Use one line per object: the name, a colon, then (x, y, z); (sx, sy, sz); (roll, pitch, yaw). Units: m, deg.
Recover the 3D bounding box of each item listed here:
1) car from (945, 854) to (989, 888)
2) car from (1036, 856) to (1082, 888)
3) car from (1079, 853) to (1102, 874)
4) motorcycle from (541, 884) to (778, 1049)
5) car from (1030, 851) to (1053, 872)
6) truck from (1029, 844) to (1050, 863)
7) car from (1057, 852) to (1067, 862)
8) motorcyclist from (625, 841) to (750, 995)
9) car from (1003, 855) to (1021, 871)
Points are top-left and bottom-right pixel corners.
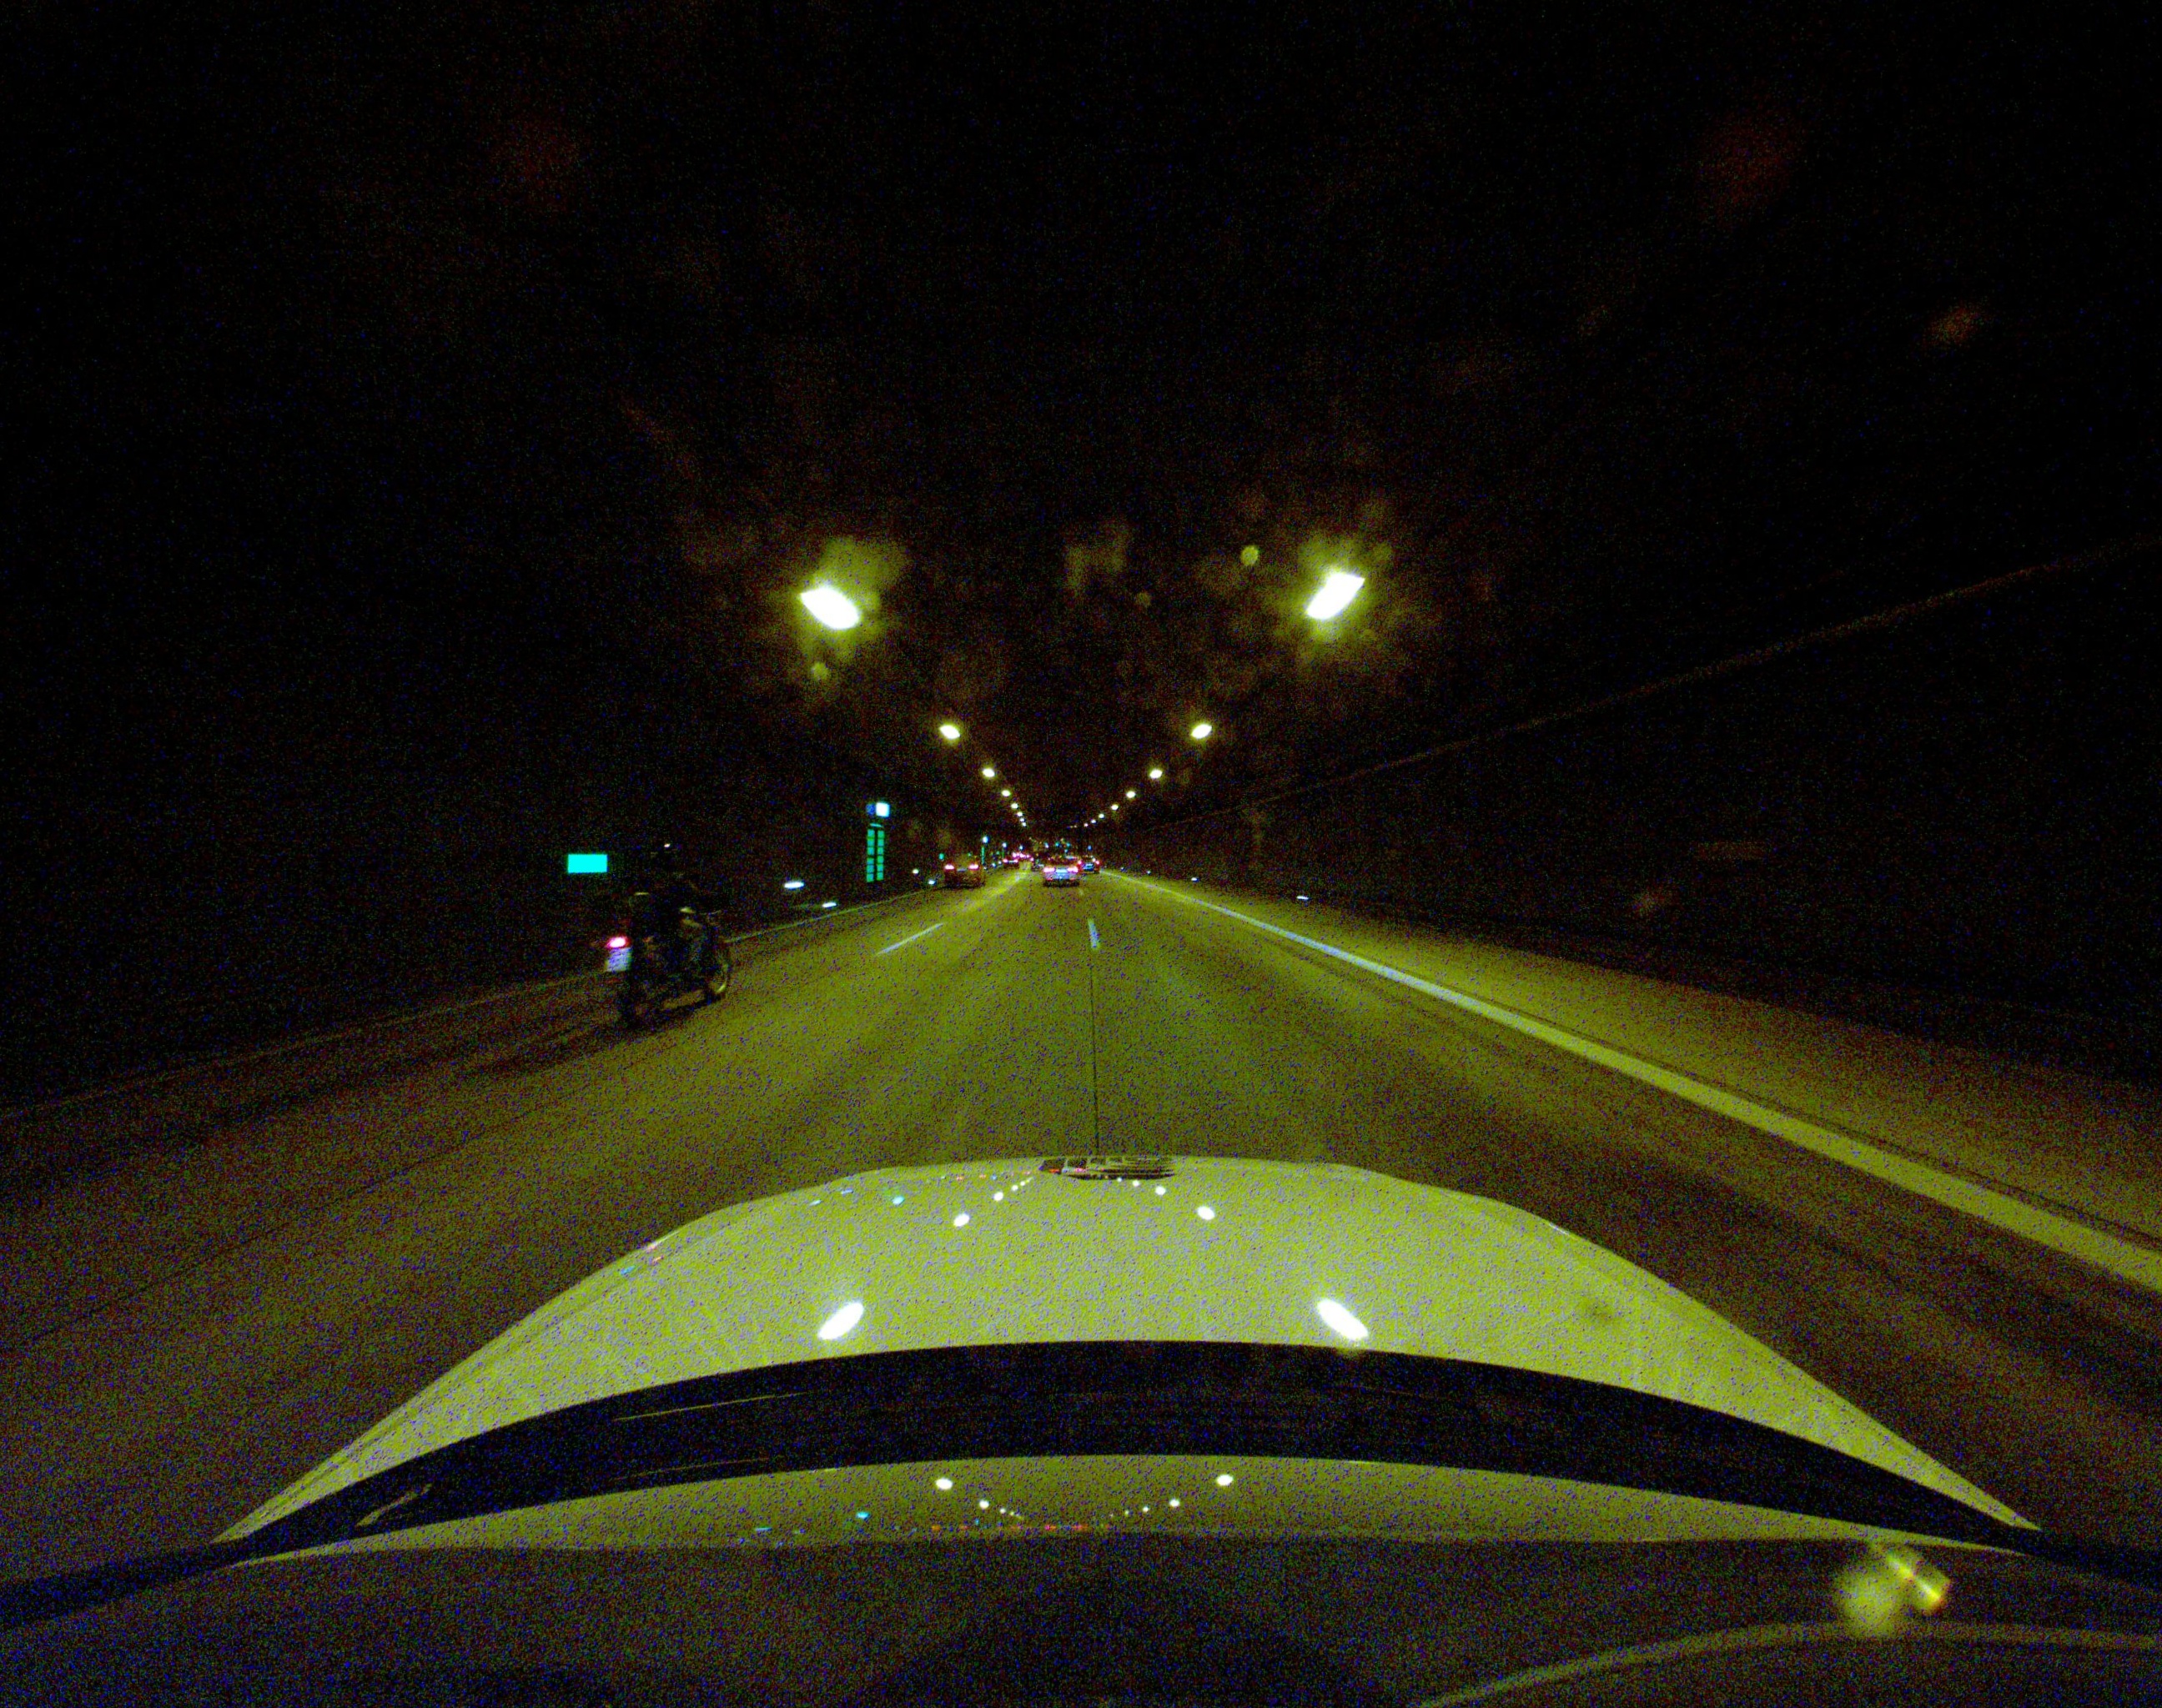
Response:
car: (-5.643, 0.816, 40.691); (1.781, 1.598, 3.798); (-1, 0, -2)
car: (-1.056, 0.868, 41.094); (1.985, 1.483, 4.003); (-1, 0, 3)
car: (0.740, 0.740, 66.584); (1.834, 1.602, 3.999); (-1, 0, 0)
motorcycle: (-3.980, 0.984, 8.047); (0.842, 1.245, 2.607); (-1, 0, 3)
car: (-3.847, 0.702, 79.267); (1.987, 1.972, 3.999); (-1, -1, 0)
truck: (-6.791, -0.096, 134.261); (3.074, 3.113, 10.023); (0, 0, -1)
car: (-3.716, 0.609, 158.304); (1.989, 1.754, 3.995); (0, -1, -3)
motorcyclist: (-3.983, 0.623, 8.310); (0.836, 1.477, 0.822); (-1, 0, 2)
car: (-7.708, 0.986, 90.933); (1.796, 1.684, 3.997); (-1, -1, -2)
